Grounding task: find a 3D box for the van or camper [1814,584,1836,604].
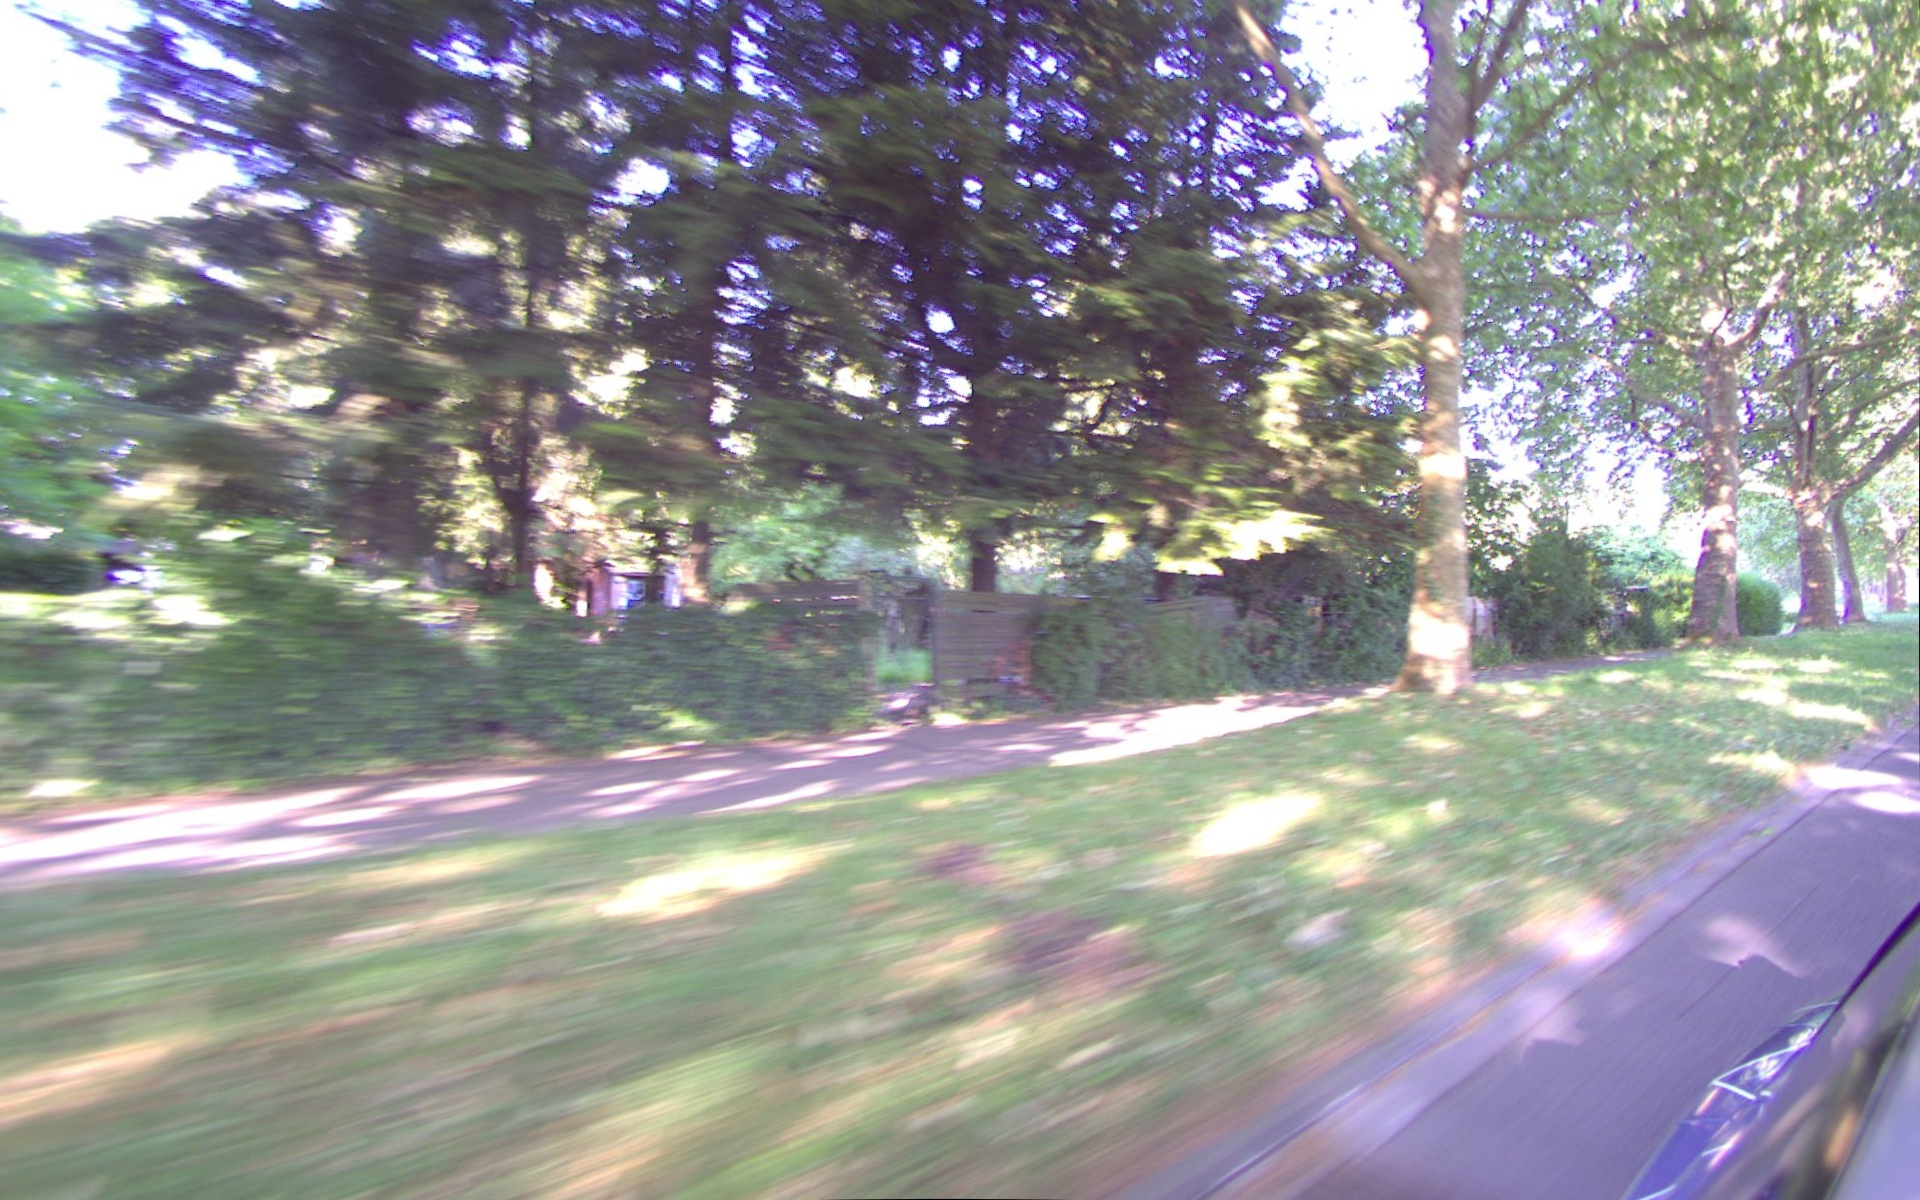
[{"bbox_3d":[129.580,-0.881,151.623,2.377,2.834,5.605,0,1,39],"label":"van or camper"}]
